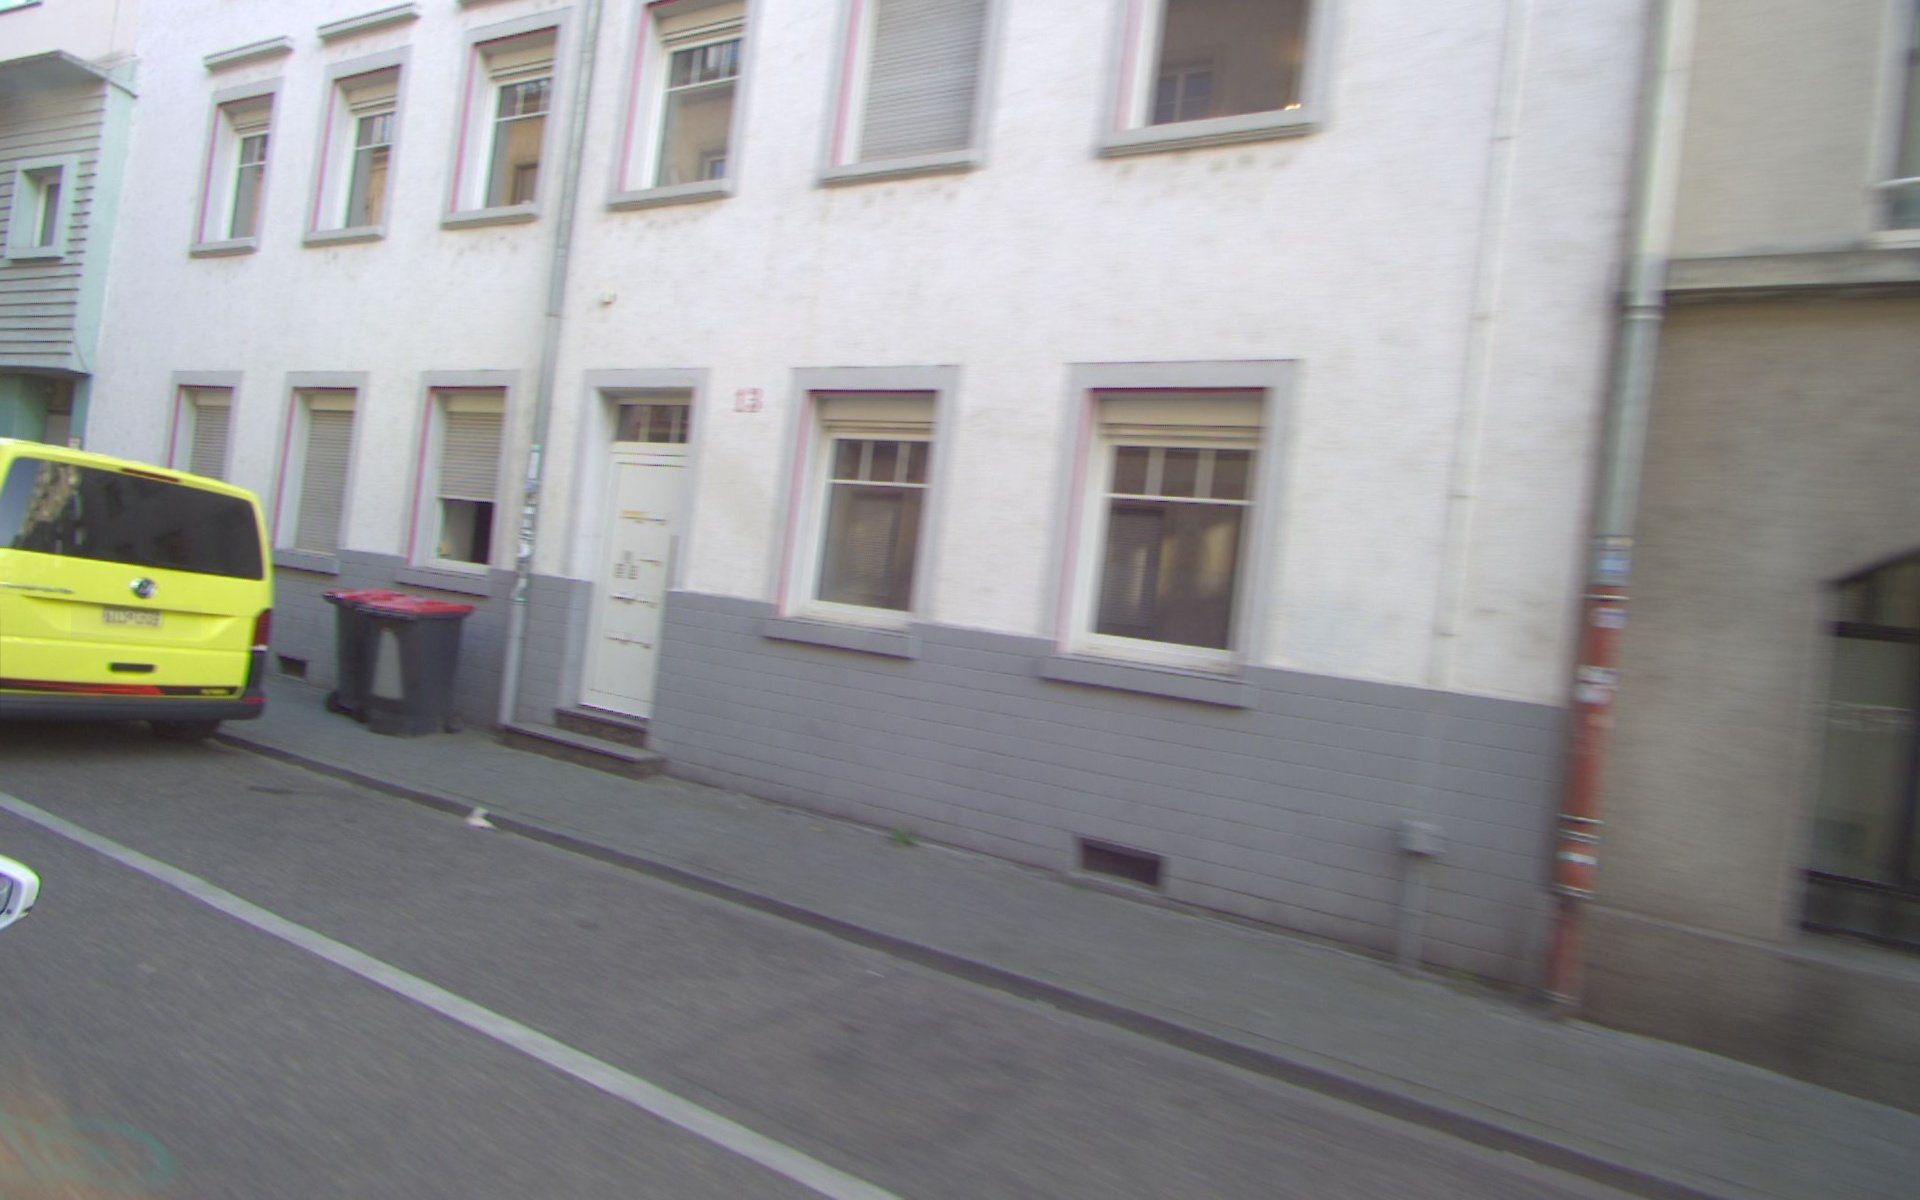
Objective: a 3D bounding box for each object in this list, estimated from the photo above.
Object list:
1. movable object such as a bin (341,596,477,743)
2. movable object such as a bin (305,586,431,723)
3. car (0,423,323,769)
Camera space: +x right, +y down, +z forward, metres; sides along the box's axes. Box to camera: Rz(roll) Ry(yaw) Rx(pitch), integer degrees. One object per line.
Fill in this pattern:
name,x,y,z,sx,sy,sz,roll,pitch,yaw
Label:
movable object such as a bin,-4.458,0.535,8.157,0.695,1.066,0.627,7,4,21
movable object such as a bin,-5.083,0.446,8.651,0.696,1.066,0.606,7,4,25
car,-7.121,-0.195,7.238,4.759,1.903,1.890,7,-2,26
